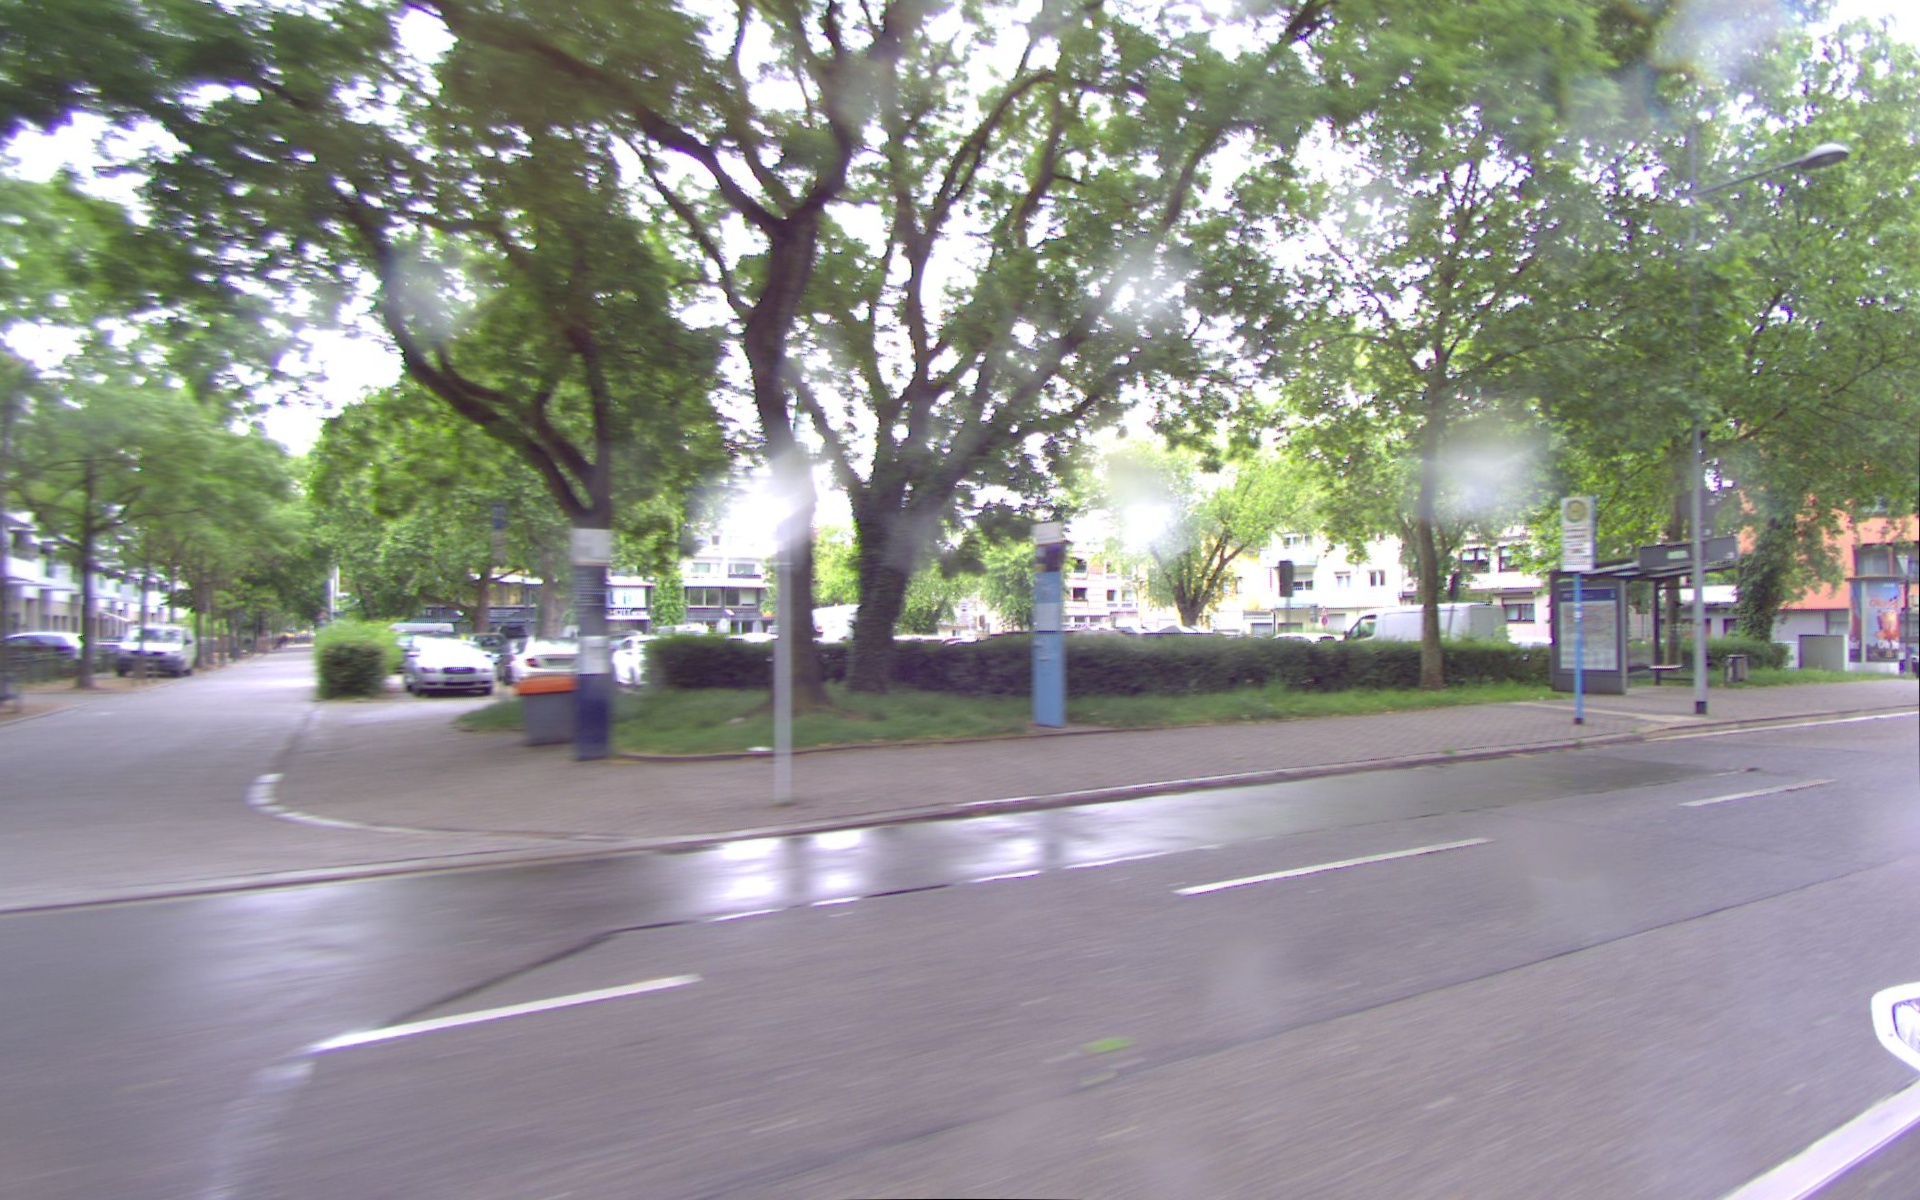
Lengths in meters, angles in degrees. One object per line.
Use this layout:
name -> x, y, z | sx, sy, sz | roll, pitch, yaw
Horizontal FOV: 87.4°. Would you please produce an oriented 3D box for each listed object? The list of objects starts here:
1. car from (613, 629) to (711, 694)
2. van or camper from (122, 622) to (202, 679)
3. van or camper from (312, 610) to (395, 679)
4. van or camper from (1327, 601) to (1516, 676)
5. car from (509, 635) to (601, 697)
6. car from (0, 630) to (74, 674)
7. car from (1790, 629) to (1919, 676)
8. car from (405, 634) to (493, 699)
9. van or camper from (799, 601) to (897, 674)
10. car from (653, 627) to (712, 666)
car -> -8.410, 1.648, 28.110 | 1.841, 1.647, 4.022 | 1, -2, -28
van or camper -> -30.620, 1.947, 38.669 | 1.807, 2.039, 4.597 | 3, -4, -32
van or camper -> -23.880, 1.695, 39.855 | 2.532, 2.433, 8.587 | 1, -2, -29
van or camper -> 13.020, 1.069, 28.637 | 1.978, 1.975, 4.572 | 1, -2, -32
car -> -10.882, 1.702, 26.837 | 1.841, 1.483, 3.971 | 1, -2, -28
car -> -35.800, 1.924, 37.364 | 3.953, 1.617, 1.768 | 1, -2, -30
car -> 32.646, 1.874, 36.172 | 4.081, 1.647, 1.840 | -3, -3, 44
car -> -13.059, 1.626, 25.590 | 1.841, 1.483, 3.614 | 1, -2, -29
van or camper -> -4.110, 1.332, 36.325 | 2.074, 2.463, 4.310 | 1, -2, -28
car -> -13.493, 2.234, 48.702 | 1.782, 1.848, 3.968 | 1, -2, -30
